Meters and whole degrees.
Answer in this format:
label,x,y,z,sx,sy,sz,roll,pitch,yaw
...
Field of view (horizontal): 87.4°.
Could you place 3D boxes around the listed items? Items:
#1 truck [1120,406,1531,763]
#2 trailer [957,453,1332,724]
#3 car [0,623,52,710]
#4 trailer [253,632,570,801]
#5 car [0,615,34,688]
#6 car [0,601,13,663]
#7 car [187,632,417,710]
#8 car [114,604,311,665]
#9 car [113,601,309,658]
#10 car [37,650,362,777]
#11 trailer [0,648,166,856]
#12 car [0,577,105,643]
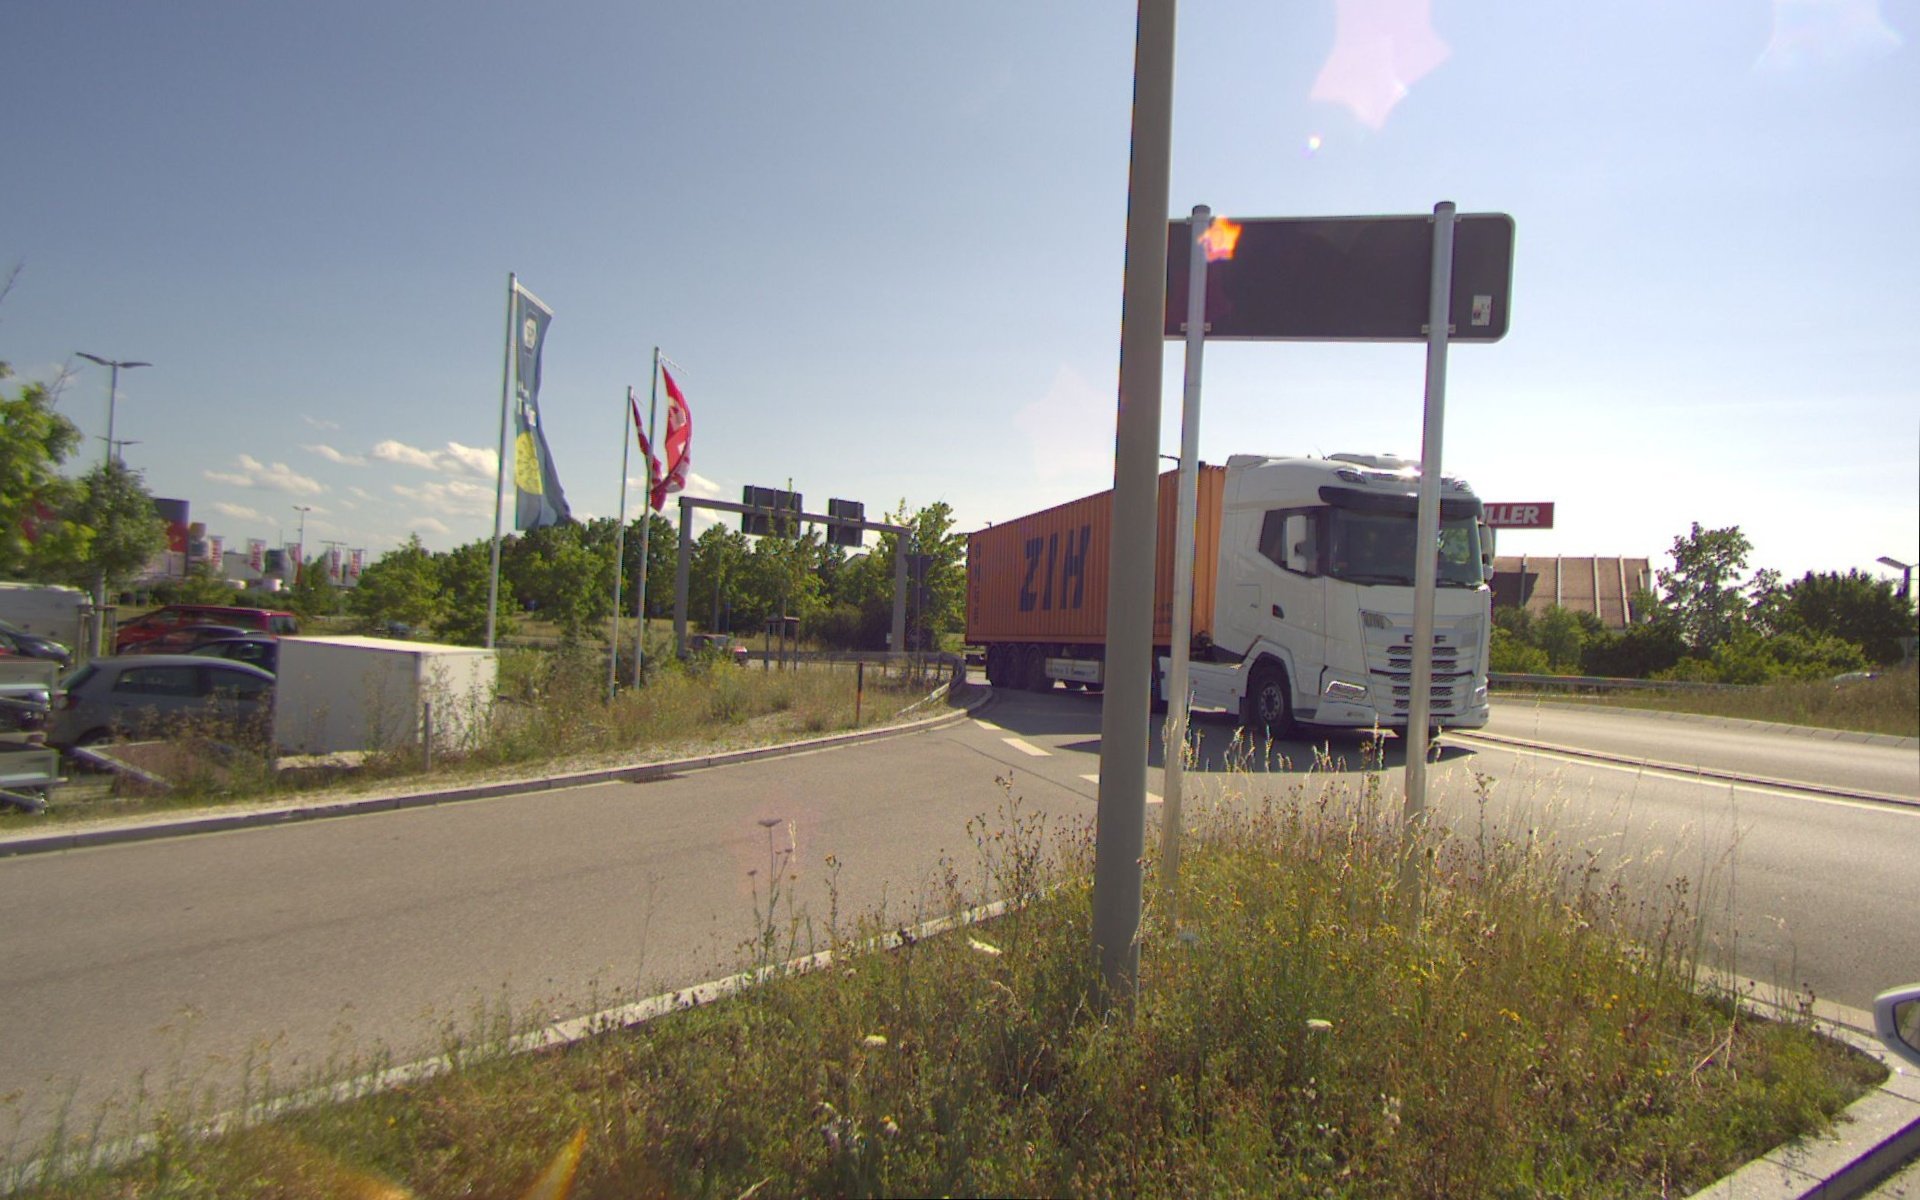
label,x,y,z,sx,sy,sz,roll,pitch,yaw
truck,4.946,-0.114,15.152,2.618,4.161,6.417,2,-1,-13
trailer,3.000,-0.086,21.905,2.520,4.208,12.315,2,-1,-17
car,-18.122,1.112,17.030,3.971,1.483,1.803,3,-3,-42
trailer,-7.569,1.492,13.937,3.624,1.795,1.808,4,1,19
car,-22.032,1.030,20.807,3.964,1.483,1.806,3,0,-37
car,-25.338,0.709,23.801,3.964,1.483,1.806,3,0,-37
car,-15.116,1.618,23.274,3.926,1.483,1.824,4,-2,-6
car,-20.579,0.941,27.811,3.925,1.483,1.823,3,0,-6
car,-22.555,0.878,30.394,4.372,1.483,1.823,3,0,-6
car,-11.371,1.613,15.224,3.713,1.572,1.724,3,0,-40
trailer,-10.652,1.481,10.619,3.623,1.795,1.808,2,0,19
car,-30.629,0.318,32.615,4.316,2.040,1.881,3,0,-41
